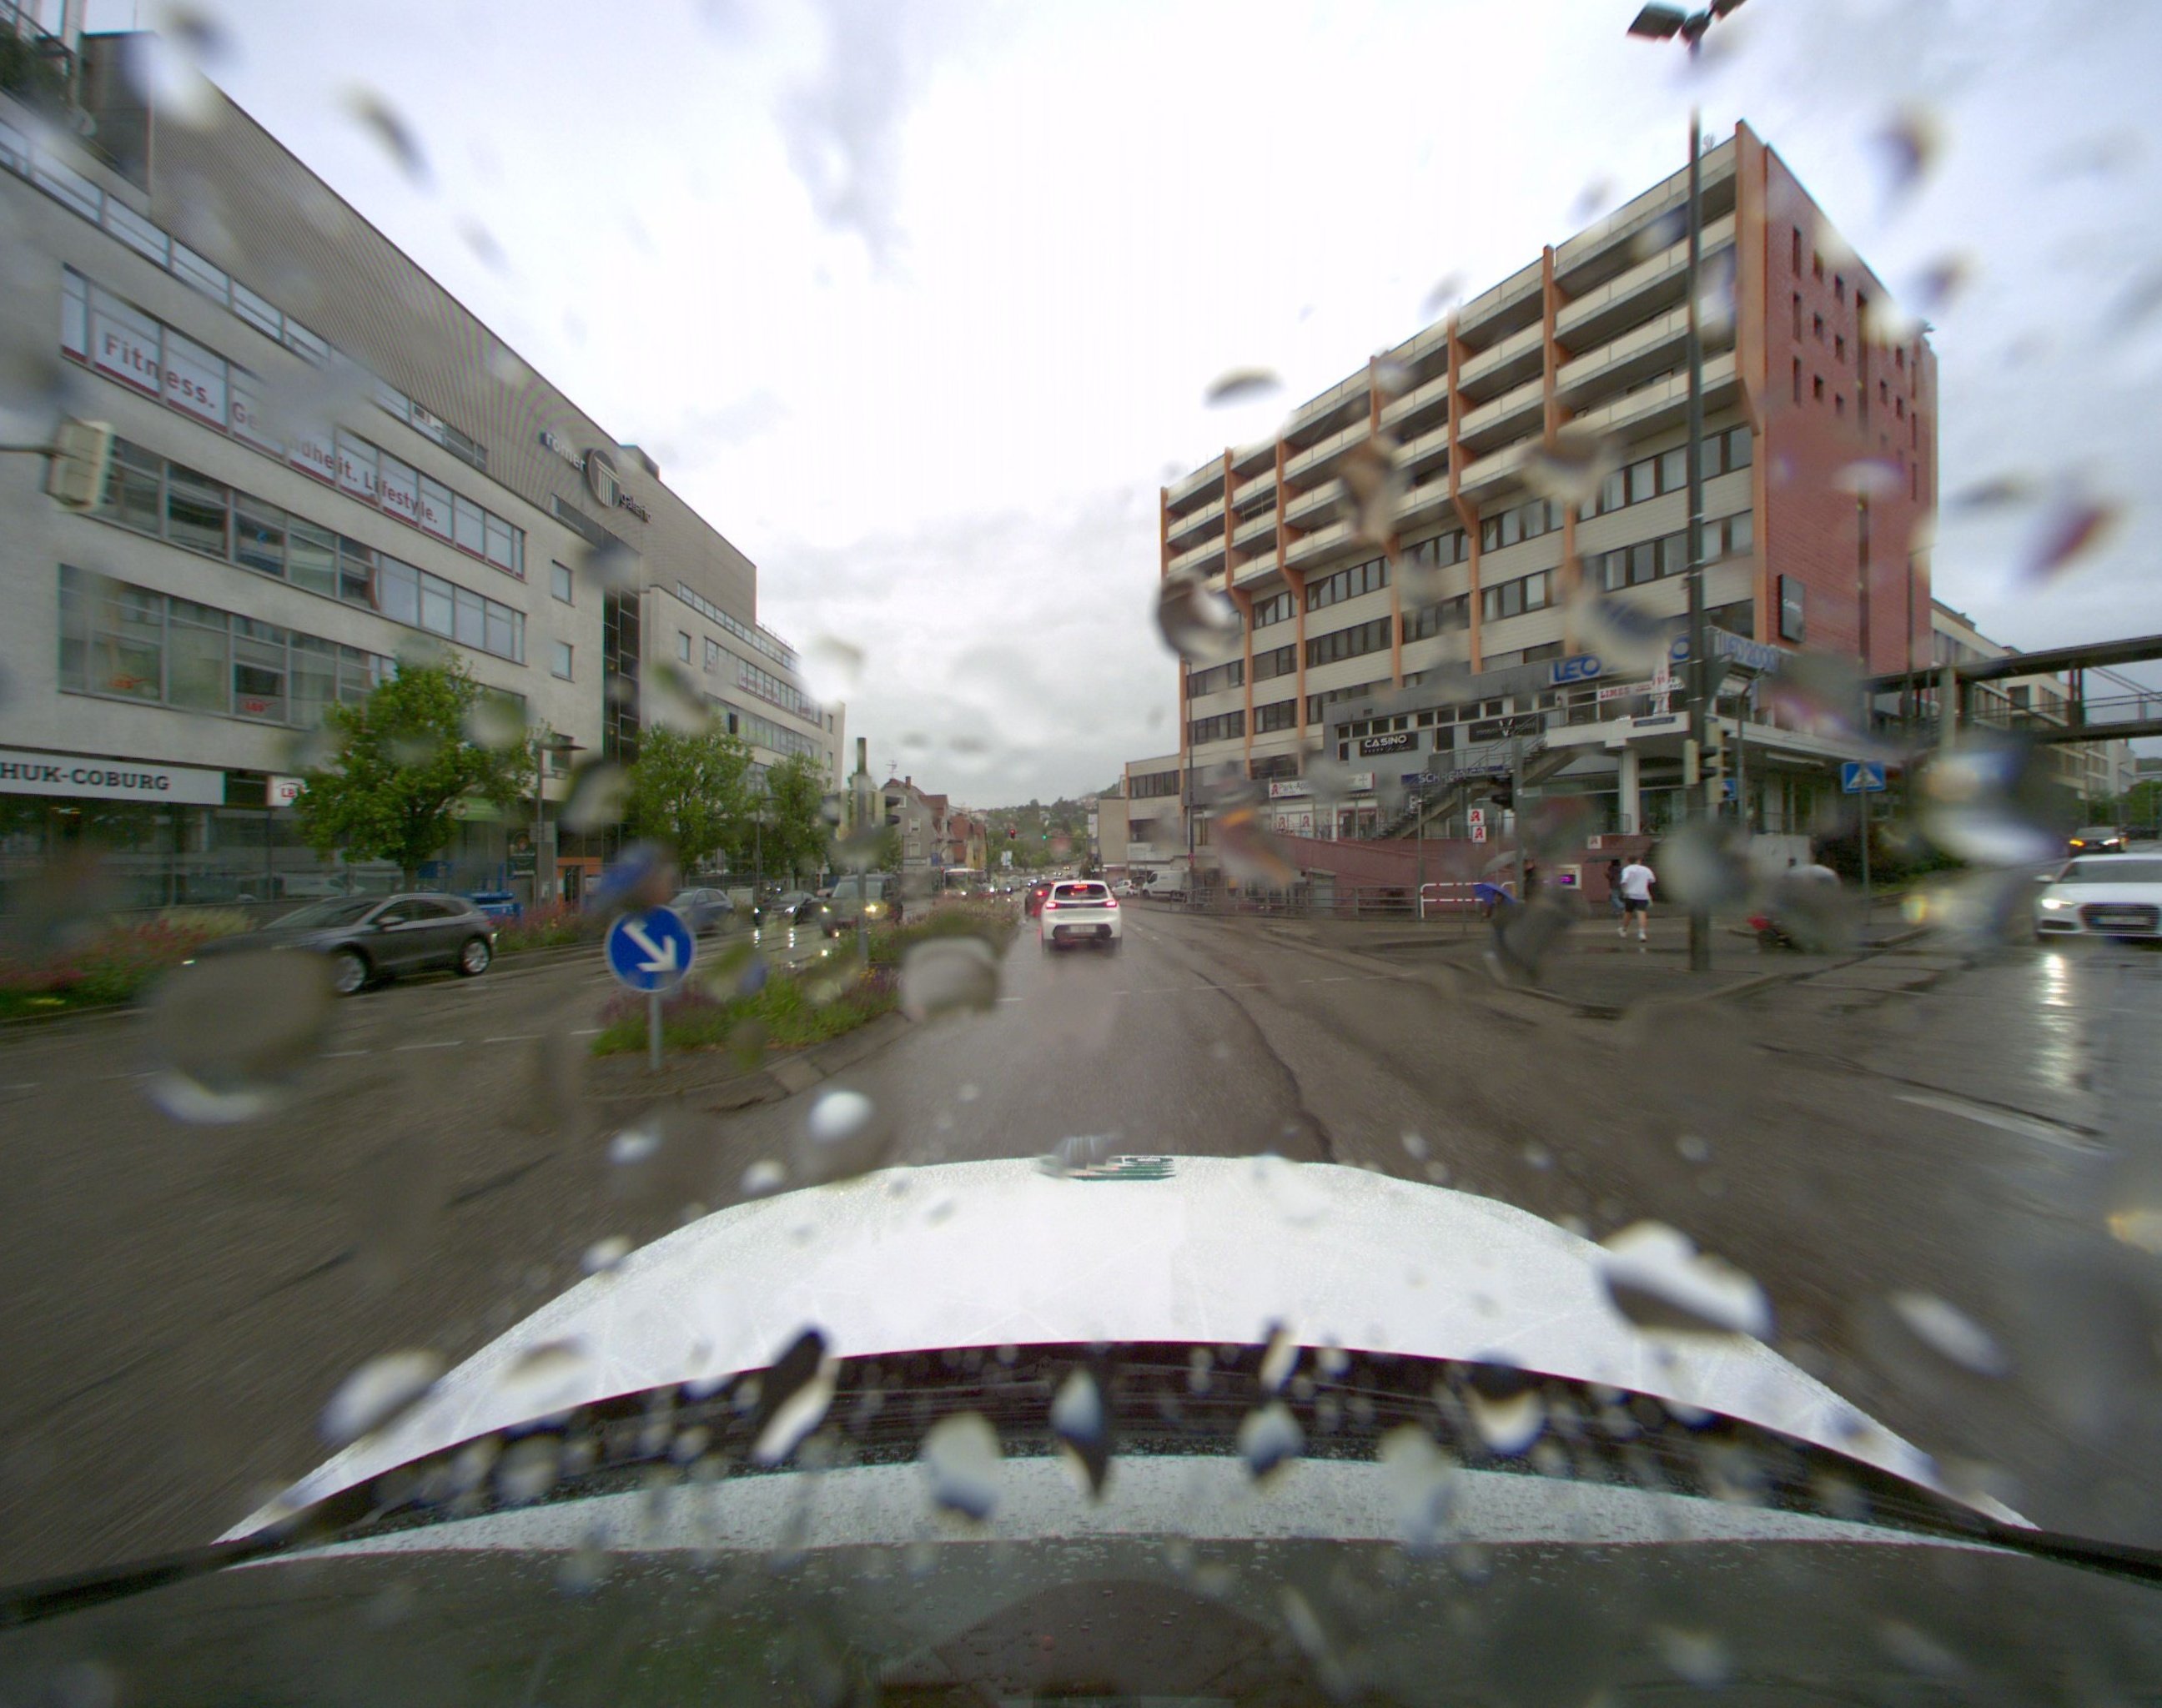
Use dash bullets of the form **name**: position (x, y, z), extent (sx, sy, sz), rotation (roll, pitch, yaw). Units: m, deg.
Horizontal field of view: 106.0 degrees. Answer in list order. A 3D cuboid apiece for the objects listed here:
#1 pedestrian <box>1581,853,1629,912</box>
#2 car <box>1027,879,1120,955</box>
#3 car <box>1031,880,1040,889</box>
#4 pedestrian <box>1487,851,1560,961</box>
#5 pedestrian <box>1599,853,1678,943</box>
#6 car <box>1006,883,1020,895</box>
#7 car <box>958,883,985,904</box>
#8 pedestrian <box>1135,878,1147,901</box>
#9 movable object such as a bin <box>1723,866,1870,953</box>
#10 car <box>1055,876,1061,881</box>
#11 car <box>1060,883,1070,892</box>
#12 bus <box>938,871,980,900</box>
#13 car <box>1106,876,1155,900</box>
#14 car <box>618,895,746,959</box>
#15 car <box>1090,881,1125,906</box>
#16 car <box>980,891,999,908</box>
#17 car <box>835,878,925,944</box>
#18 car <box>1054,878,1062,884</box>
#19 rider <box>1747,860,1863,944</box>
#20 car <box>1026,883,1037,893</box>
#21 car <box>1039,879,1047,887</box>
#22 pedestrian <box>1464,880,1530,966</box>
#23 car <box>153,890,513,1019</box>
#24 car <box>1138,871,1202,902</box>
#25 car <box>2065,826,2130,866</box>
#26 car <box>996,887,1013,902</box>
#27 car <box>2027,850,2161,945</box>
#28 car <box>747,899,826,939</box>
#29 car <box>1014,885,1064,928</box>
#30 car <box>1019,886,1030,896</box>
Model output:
- **pedestrian**: position (15.069, 0.814, 23.444), extent (0.790, 1.669, 0.932), rotation (-1, -1, 3)
- **car**: position (-0.146, 1.332, 18.404), extent (1.866, 1.462, 3.872), rotation (1, -1, 0)
- **car**: position (-9.291, 6.277, 167.085), extent (1.741, 1.555, 3.996), rotation (-2, -1, -2)
- **pedestrian**: position (6.710, 0.782, 12.378), extent (0.705, 1.607, 0.656), rotation (-1, -2, 2)
- **pedestrian**: position (10.898, 0.846, 15.963), extent (0.823, 1.691, 1.131), rotation (-1, -1, 8)
- **car**: position (-9.508, 4.929, 114.349), extent (1.741, 1.555, 3.996), rotation (-2, -1, -2)
- **car**: position (-9.203, 3.279, 68.547), extent (1.889, 1.555, 3.995), rotation (-2, -1, -3)
- **pedestrian**: position (4.850, 2.859, 65.799), extent (0.644, 1.823, 0.576), rotation (-1, -2, -33)
- **movable object such as a bin**: position (12.092, 0.911, 13.833), extent (1.127, 1.332, 1.454), rotation (-3, -1, -1)
- **car**: position (-7.111, 7.470, 249.074), extent (1.741, 1.555, 3.996), rotation (-2, -1, -2)
- **car**: position (-3.075, 6.330, 156.078), extent (1.741, 1.555, 3.996), rotation (-2, -1, -2)
- **bus**: position (-12.983, 3.287, 87.731), extent (2.929, 2.783, 9.503), rotation (-2, -1, 0)
- **car**: position (4.055, 2.815, 67.348), extent (1.898, 1.879, 4.092), rotation (-1, -1, -33)
- **car**: position (-12.712, 2.274, 26.303), extent (1.768, 1.594, 4.587), rotation (-4, -1, 0)
- **car**: position (1.552, 2.342, 48.679), extent (1.906, 1.400, 3.456), rotation (0, -1, -1)
- **car**: position (-9.236, 4.595, 82.673), extent (1.813, 1.555, 3.991), rotation (-2, -1, -6)
- **car**: position (-6.240, 1.755, 25.770), extent (1.990, 1.824, 4.292), rotation (-2, -3, -4)
- **car**: position (-5.766, 6.705, 203.053), extent (1.741, 1.555, 3.996), rotation (-2, -1, -2)
- **rider**: position (12.095, 0.772, 13.655), extent (0.919, 1.284, 1.090), rotation (-3, 0, -1)
- **car**: position (-9.246, 6.343, 152.506), extent (1.741, 1.555, 3.998), rotation (-2, -1, -1)
- **car**: position (-8.894, 6.826, 190.316), extent (1.780, 1.684, 4.000), rotation (0, 0, 0)
- **pedestrian**: position (6.781, 1.107, 13.304), extent (0.705, 1.346, 0.656), rotation (-1, -2, 2)
- **car**: position (-12.295, 1.537, 13.929), extent (1.870, 1.594, 4.523), rotation (-4, -1, 0)
- **car**: position (6.776, 2.475, 62.236), extent (2.009, 2.226, 4.920), rotation (-1, -1, -37)
- **car**: position (54.995, -0.423, 44.130), extent (4.021, 2.014, 1.976), rotation (0, -2, -41)
- **car**: position (-8.907, 4.682, 95.233), extent (1.811, 1.555, 3.995), rotation (-2, -1, -3)
- **car**: position (18.118, 0.665, 14.010), extent (4.809, 1.406, 1.793), rotation (-1, -2, -34)
- **car**: position (-12.297, 2.684, 34.348), extent (1.721, 1.388, 4.597), rotation (-2, -2, -2)
- **car**: position (-1.796, 2.138, 33.801), extent (1.813, 1.530, 3.803), rotation (-4, -2, -6)
- **car**: position (-9.610, 6.251, 138.573), extent (1.741, 1.555, 3.996), rotation (-2, -1, -2)
